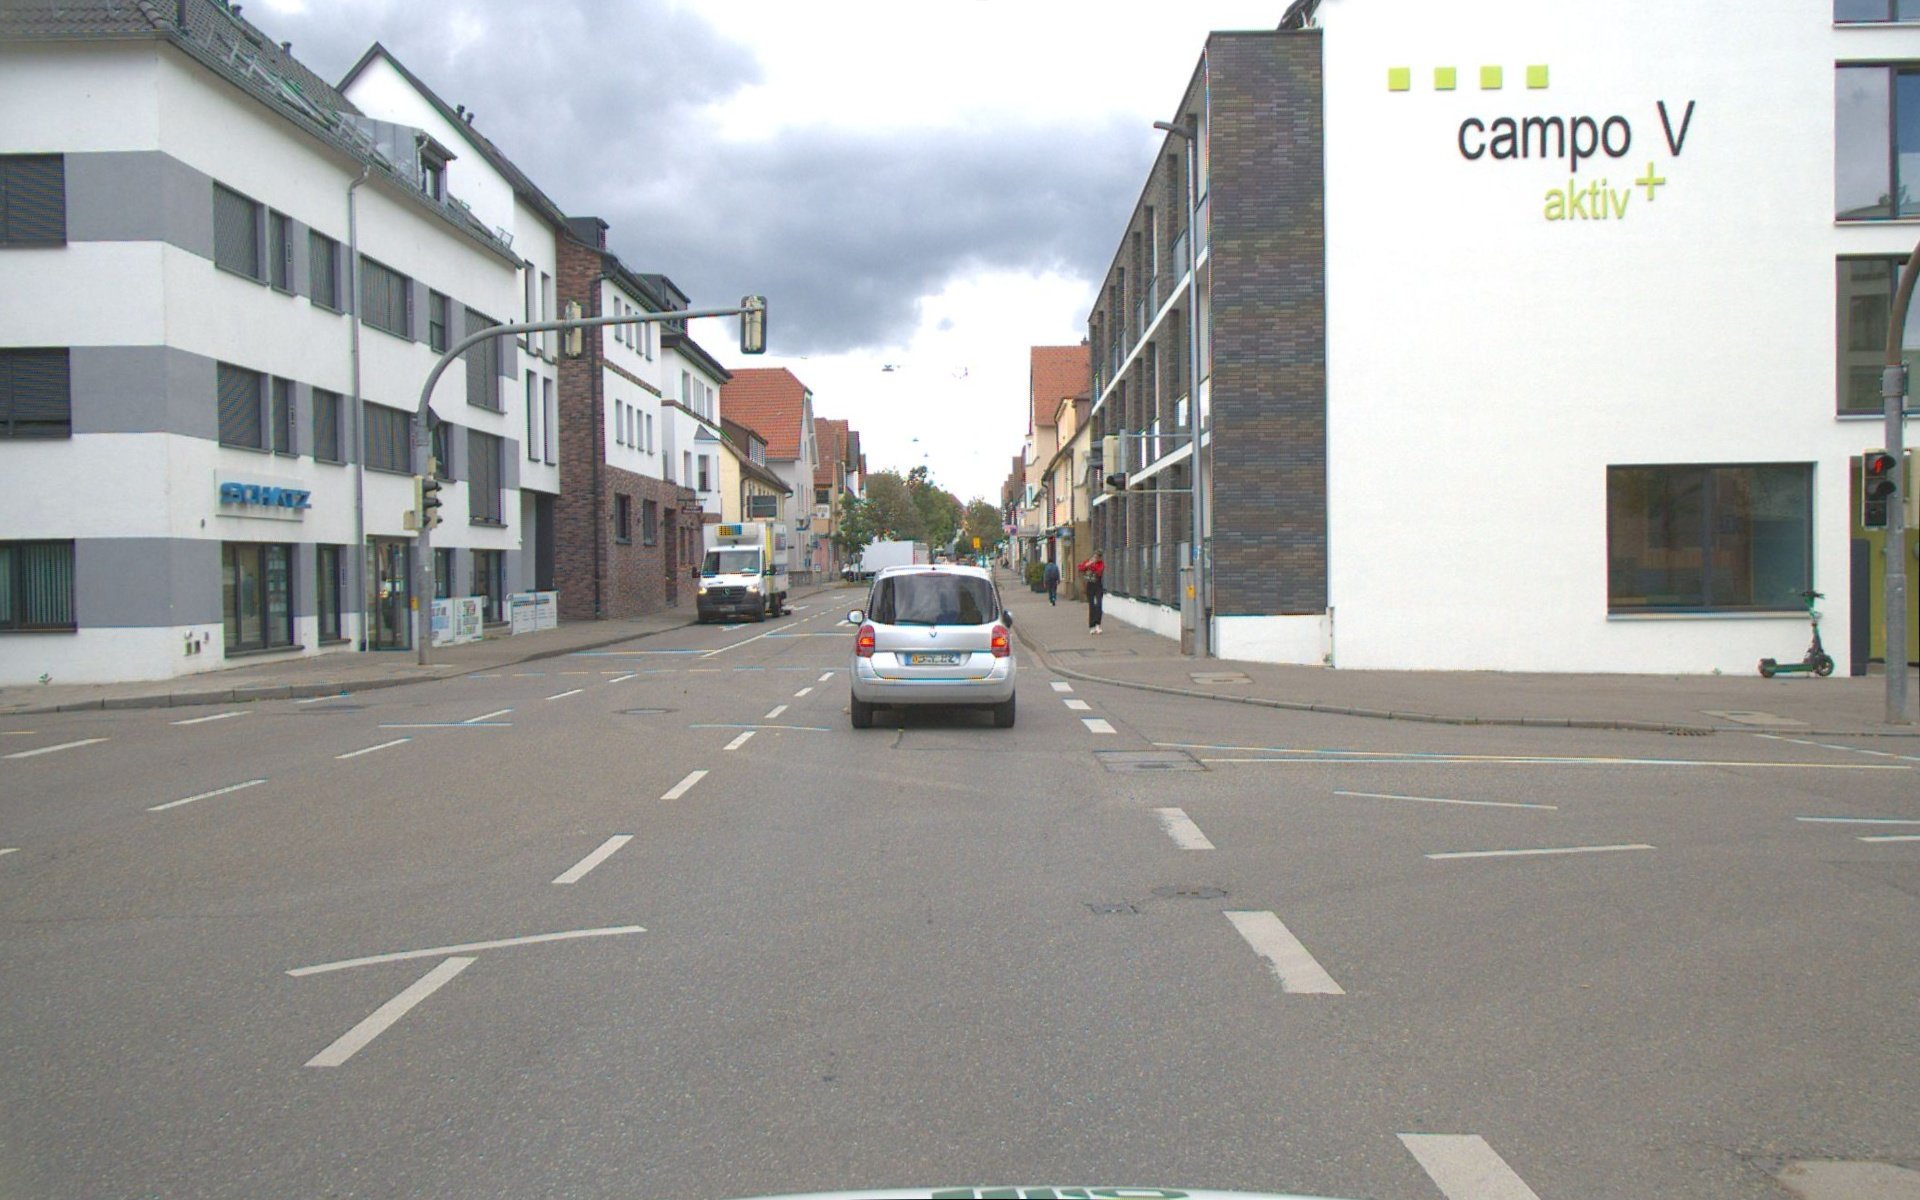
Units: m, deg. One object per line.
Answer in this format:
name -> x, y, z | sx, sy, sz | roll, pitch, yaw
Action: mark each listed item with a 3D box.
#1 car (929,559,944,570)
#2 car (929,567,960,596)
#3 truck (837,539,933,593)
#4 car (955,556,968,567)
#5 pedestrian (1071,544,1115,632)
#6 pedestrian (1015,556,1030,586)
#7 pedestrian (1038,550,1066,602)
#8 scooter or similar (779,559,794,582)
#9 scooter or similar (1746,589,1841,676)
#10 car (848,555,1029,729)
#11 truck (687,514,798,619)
car -> -3.075, -4.682, 217.524 | 1.775, 1.377, 3.858 | -1, 1, 0
car -> -0.884, -1.070, 94.197 | 1.672, 1.606, 4.000 | 1, 1, 0
truck -> -5.627, -2.532, 124.038 | 6.691, 3.924, 2.602 | 0, 1, 26
car -> 0.206, -5.368, 231.338 | 1.775, 1.377, 4.001 | -1, 1, 0
pedestrian -> 2.850, -0.256, 35.413 | 0.791, 1.817, 0.861 | -3, 1, 0
pedestrian -> 3.888, -1.801, 102.964 | 0.871, 1.817, 0.785 | -3, 1, 0
pedestrian -> 3.322, -0.861, 59.782 | 0.871, 1.817, 0.785 | -3, 1, 0
scooter or similar -> -10.121, -1.713, 96.455 | 0.563, 1.291, 2.549 | -1, 1, 1
scooter or similar -> 12.565, 0.485, 24.939 | 1.205, 1.256, 0.406 | 1, 1, 0
car -> -0.216, 0.353, 17.581 | 1.672, 1.606, 4.000 | 1, 1, 0
truck -> -6.715, -1.052, 52.094 | 2.385, 3.005, 8.364 | -1, 1, 0
